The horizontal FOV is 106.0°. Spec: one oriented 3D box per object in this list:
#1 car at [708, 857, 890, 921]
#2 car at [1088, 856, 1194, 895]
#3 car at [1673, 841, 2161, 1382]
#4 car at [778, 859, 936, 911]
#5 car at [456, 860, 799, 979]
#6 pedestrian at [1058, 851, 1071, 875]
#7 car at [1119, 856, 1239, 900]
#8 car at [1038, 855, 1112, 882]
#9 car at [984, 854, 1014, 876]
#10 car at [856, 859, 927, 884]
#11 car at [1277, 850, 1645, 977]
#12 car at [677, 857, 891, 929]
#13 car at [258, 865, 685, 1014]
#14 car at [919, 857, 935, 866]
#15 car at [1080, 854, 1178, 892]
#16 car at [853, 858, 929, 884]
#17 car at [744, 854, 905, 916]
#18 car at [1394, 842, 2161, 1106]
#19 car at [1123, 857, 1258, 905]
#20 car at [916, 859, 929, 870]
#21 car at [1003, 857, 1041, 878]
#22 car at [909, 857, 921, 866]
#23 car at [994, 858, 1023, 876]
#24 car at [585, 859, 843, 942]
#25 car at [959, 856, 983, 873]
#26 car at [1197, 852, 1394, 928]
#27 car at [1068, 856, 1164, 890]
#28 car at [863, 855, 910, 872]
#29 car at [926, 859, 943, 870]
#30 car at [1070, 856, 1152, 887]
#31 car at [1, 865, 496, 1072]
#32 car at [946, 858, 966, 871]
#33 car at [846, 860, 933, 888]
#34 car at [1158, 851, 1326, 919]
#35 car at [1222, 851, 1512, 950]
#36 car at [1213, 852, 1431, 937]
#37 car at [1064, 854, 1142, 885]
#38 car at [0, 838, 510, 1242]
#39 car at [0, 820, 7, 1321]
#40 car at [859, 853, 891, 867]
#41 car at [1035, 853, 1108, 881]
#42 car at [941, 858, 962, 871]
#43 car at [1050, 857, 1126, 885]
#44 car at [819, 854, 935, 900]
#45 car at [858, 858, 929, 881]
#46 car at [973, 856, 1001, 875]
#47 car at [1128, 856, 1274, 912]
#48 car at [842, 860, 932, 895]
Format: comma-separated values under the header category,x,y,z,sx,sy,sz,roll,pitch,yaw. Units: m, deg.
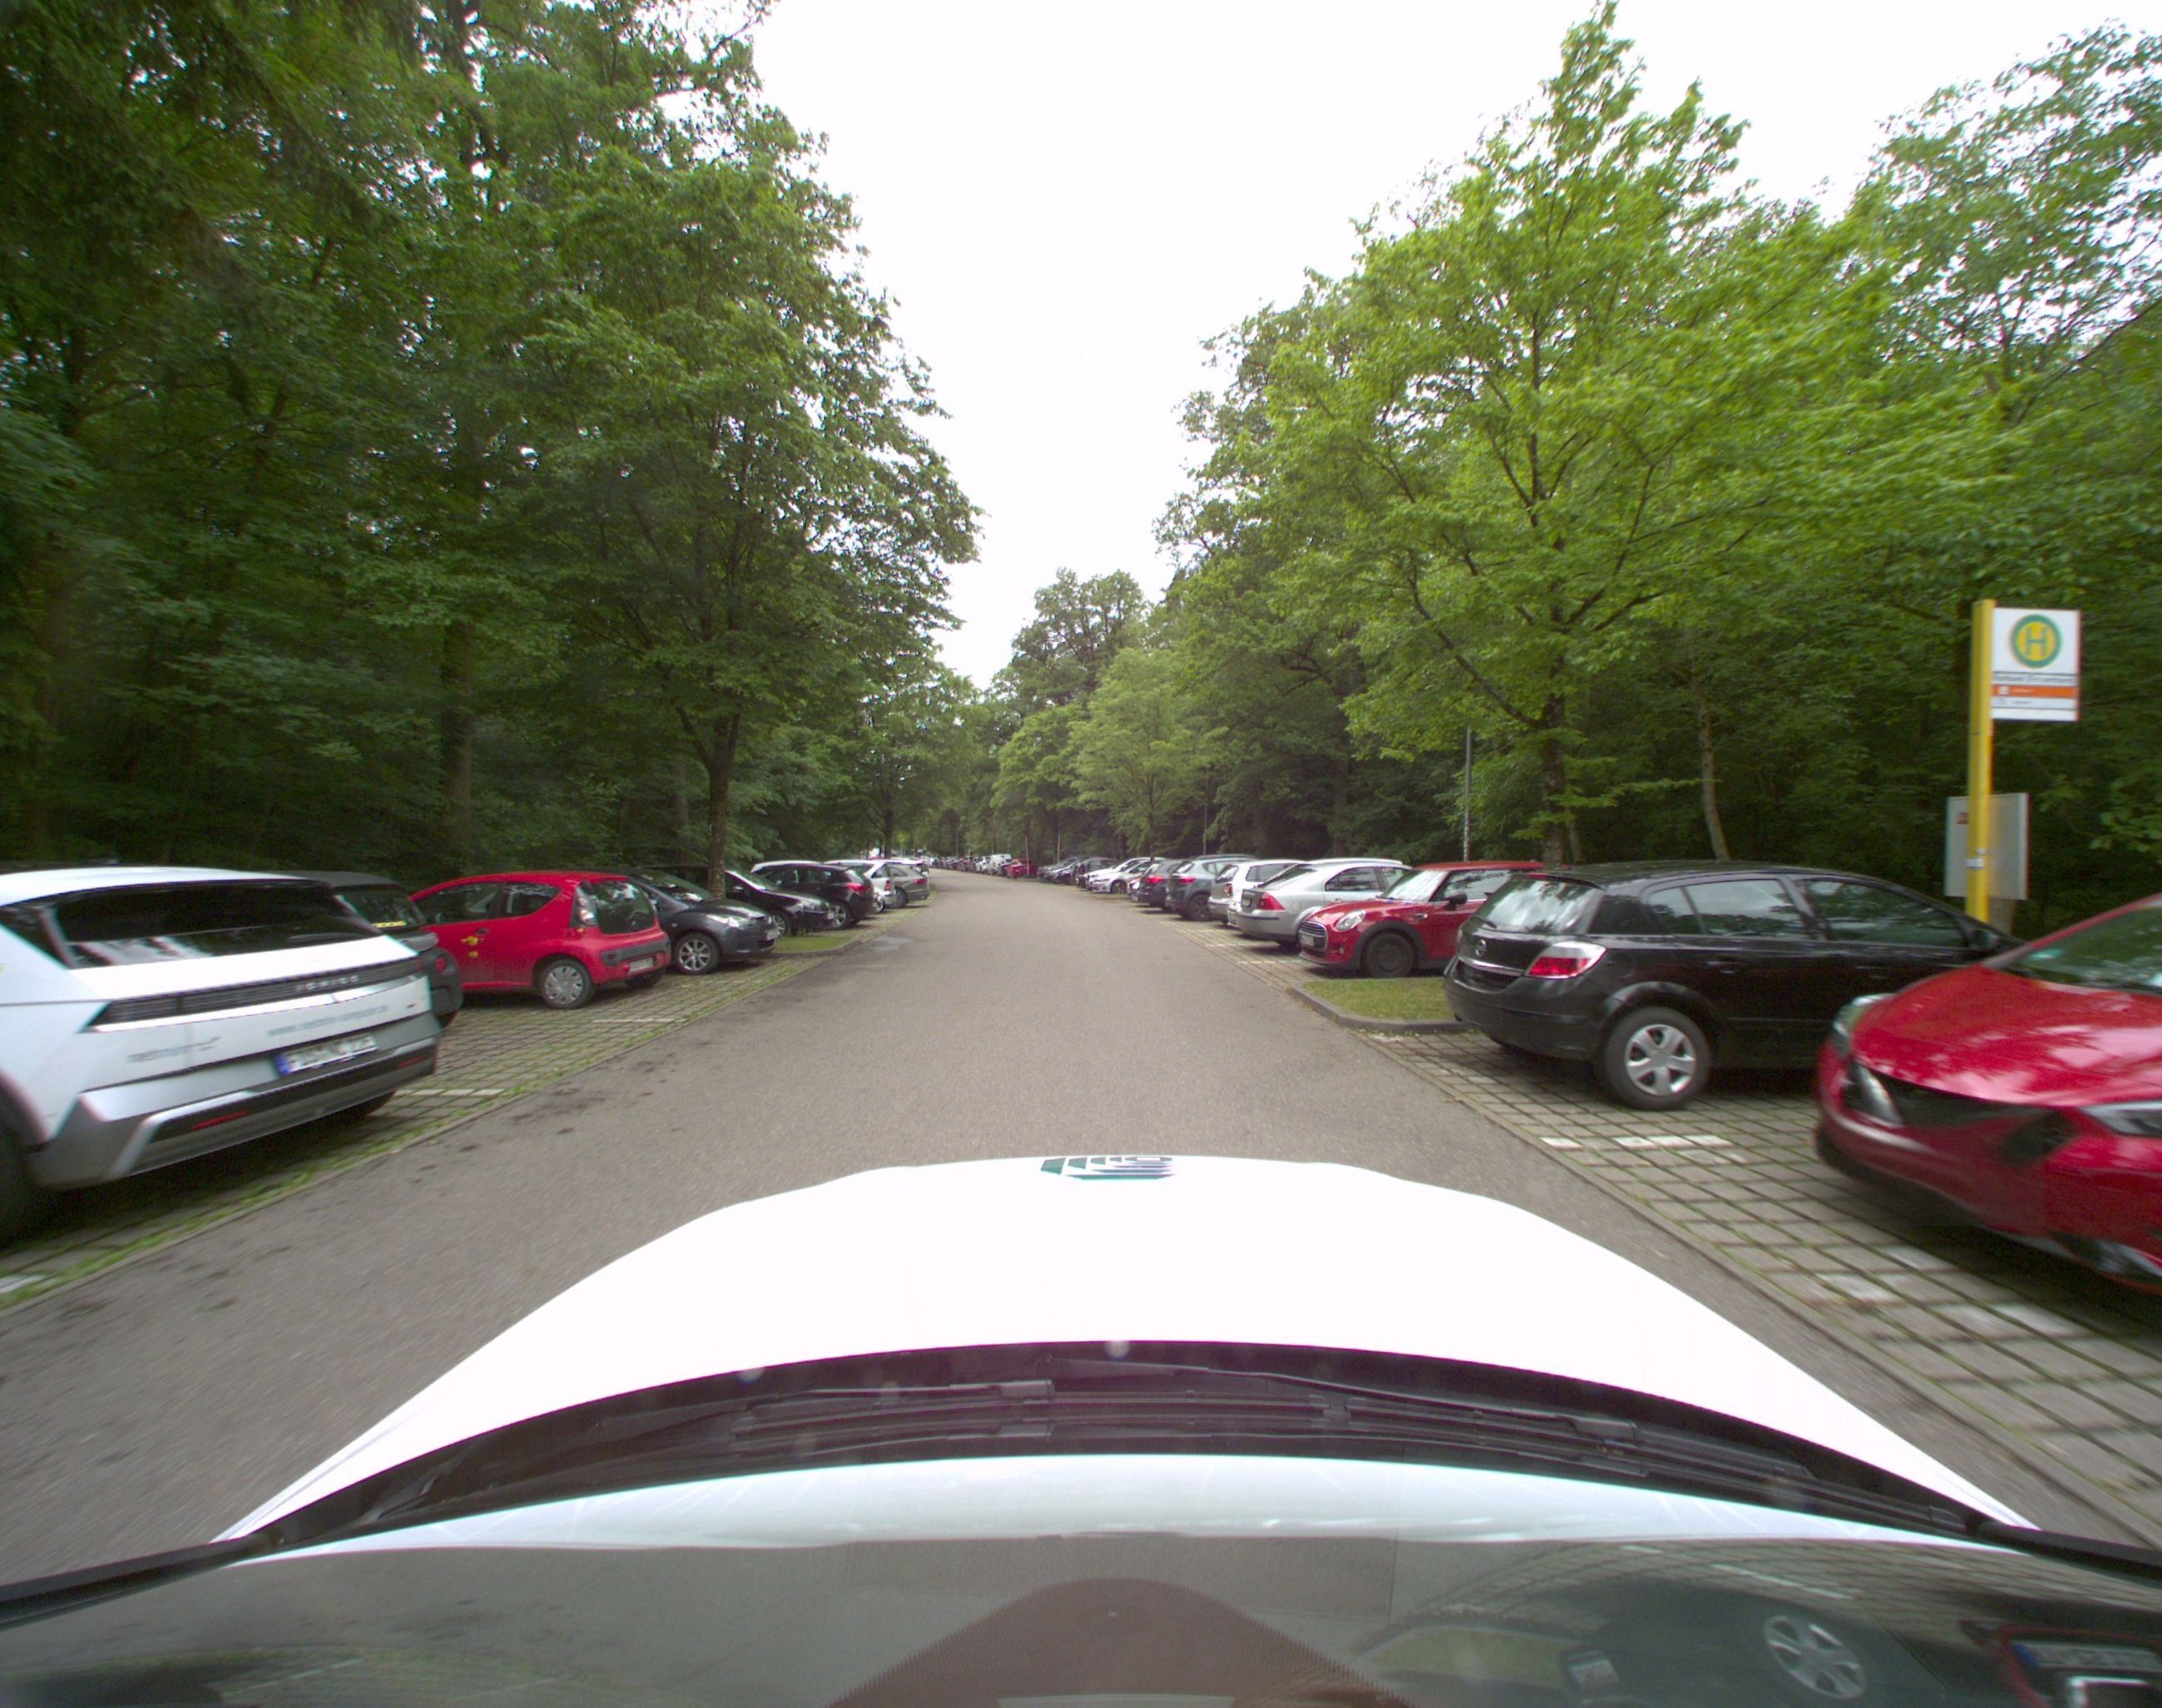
category,x,y,z,sx,sy,sz,roll,pitch,yaw
car,-7.300,0.876,21.489,4.230,1.533,1.758,-1,0,-8
car,2.415,0.862,33.306,3.979,1.483,1.876,0,0,-12
car,5.066,0.700,3.128,4.215,1.480,1.919,0,-1,0
car,-7.127,0.960,26.337,4.636,1.478,2.089,-1,0,-8
car,-6.426,0.880,11.925,3.980,1.491,1.705,-1,0,-5
pedestrian,-1.218,0.675,59.852,0.819,1.726,0.999,0,-1,-15
car,3.428,0.815,28.660,3.802,1.441,1.860,0,0,-16
car,-0.384,0.831,48.204,3.997,1.551,1.964,0,0,-18
car,-7.189,0.941,71.019,1.748,1.780,4.526,0,0,-17
car,-12.346,1.116,52.992,4.376,1.486,1.881,-1,-1,-17
car,4.831,0.708,10.754,3.979,1.450,1.938,-1,0,-4
car,-6.726,0.856,18.851,4.224,1.530,2.004,-1,0,-4
car,-6.781,0.906,9.364,3.596,1.474,1.674,-1,0,-1
car,-23.826,1.156,126.116,1.728,1.494,3.746,0,0,-22
car,2.071,0.807,35.814,4.006,1.559,1.972,0,0,-8
car,-11.127,0.982,48.059,4.267,1.486,2.050,-1,0,-11
car,-7.436,0.860,23.985,4.232,1.647,1.964,-1,0,-9
car,4.537,0.695,5.690,3.974,1.483,1.922,-1,0,0
car,3.421,0.825,25.841,3.929,1.411,1.873,0,0,-8
car,-25.563,1.703,131.538,1.714,1.728,3.977,0,0,-17
car,-4.397,0.944,60.476,1.996,1.479,4.947,0,0,-14
car,-29.116,1.328,143.182,1.714,1.509,3.977,0,0,-17
car,-5.897,1.051,65.878,1.728,1.422,4.263,0,0,-14
car,-6.982,0.861,15.865,4.225,1.473,1.717,0,-1,-5
car,-11.952,1.112,88.066,1.894,1.747,4.920,0,0,-17
car,4.656,0.759,17.967,3.838,1.546,1.726,0,0,-7
car,1.635,0.865,38.301,4.190,1.512,1.885,0,0,-12
car,-18.356,0.898,76.923,4.232,1.633,2.018,0,-1,-16
car,-21.724,1.543,120.568,1.942,1.475,3.967,0,0,-18
car,1.488,0.854,40.963,3.828,1.457,1.802,-1,-1,-11
car,-6.897,0.875,6.987,2.654,1.541,1.444,0,0,-4
car,-15.060,1.288,98.155,1.641,1.478,4.125,0,0,-19
car,-10.069,1.041,43.172,4.406,1.424,2.028,-1,0,-11
car,3.939,0.728,20.370,3.762,1.589,1.946,0,0,-5
car,4.558,0.714,13.412,4.116,1.461,1.863,-1,-1,-3
car,4.574,0.747,15.796,3.694,1.511,1.749,0,-1,-4
car,1.154,0.797,43.172,3.829,1.531,1.843,-1,0,-12
car,-5.895,0.777,4.261,4.340,1.598,2.031,-1,-1,0
car,-5.906,0.745,1.743,4.408,1.694,2.172,0,0,2
car,-27.342,0.839,108.096,4.000,1.817,2.101,-1,0,-20
car,-0.627,0.788,50.726,4.270,1.666,1.950,0,0,-13
car,-16.566,1.314,103.783,1.983,1.537,4.594,0,0,-17
car,0.389,0.931,45.784,3.989,1.475,1.945,0,0,-11
car,-7.819,0.868,31.495,3.948,1.628,1.998,-1,0,-1
car,-12.799,1.032,55.658,4.575,1.447,2.073,-1,0,-18
car,-8.919,1.066,76.948,1.790,1.662,4.689,0,0,-17
car,3.364,0.816,23.192,3.767,1.481,1.768,0,0,-10
car,-8.552,1.003,36.191,3.726,1.419,1.866,-1,0,-9
